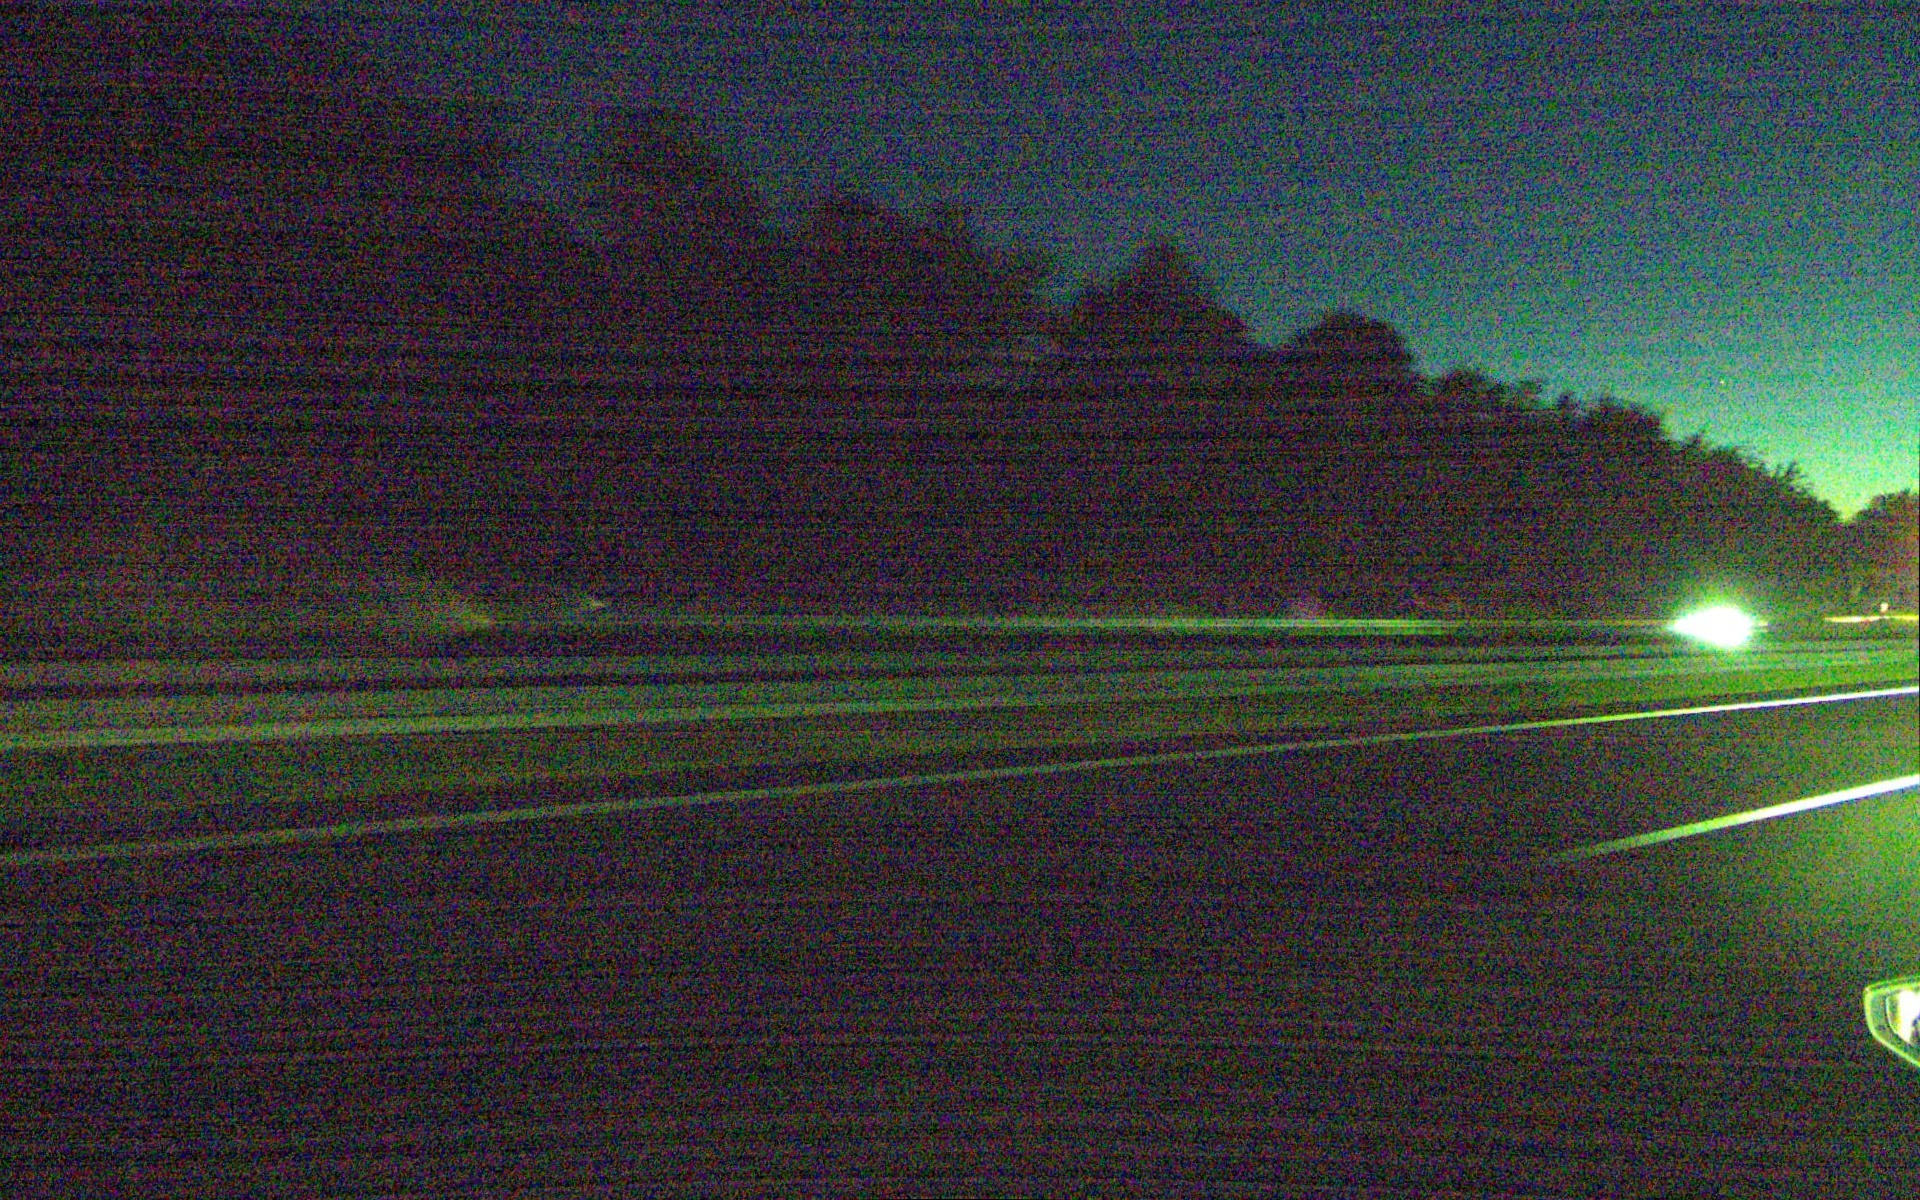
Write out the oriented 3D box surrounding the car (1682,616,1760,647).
[{"bbox_3d":[39.575,1.635,52.219,4.272,1.528,1.981,1,0,-35],"label":"car"}]
